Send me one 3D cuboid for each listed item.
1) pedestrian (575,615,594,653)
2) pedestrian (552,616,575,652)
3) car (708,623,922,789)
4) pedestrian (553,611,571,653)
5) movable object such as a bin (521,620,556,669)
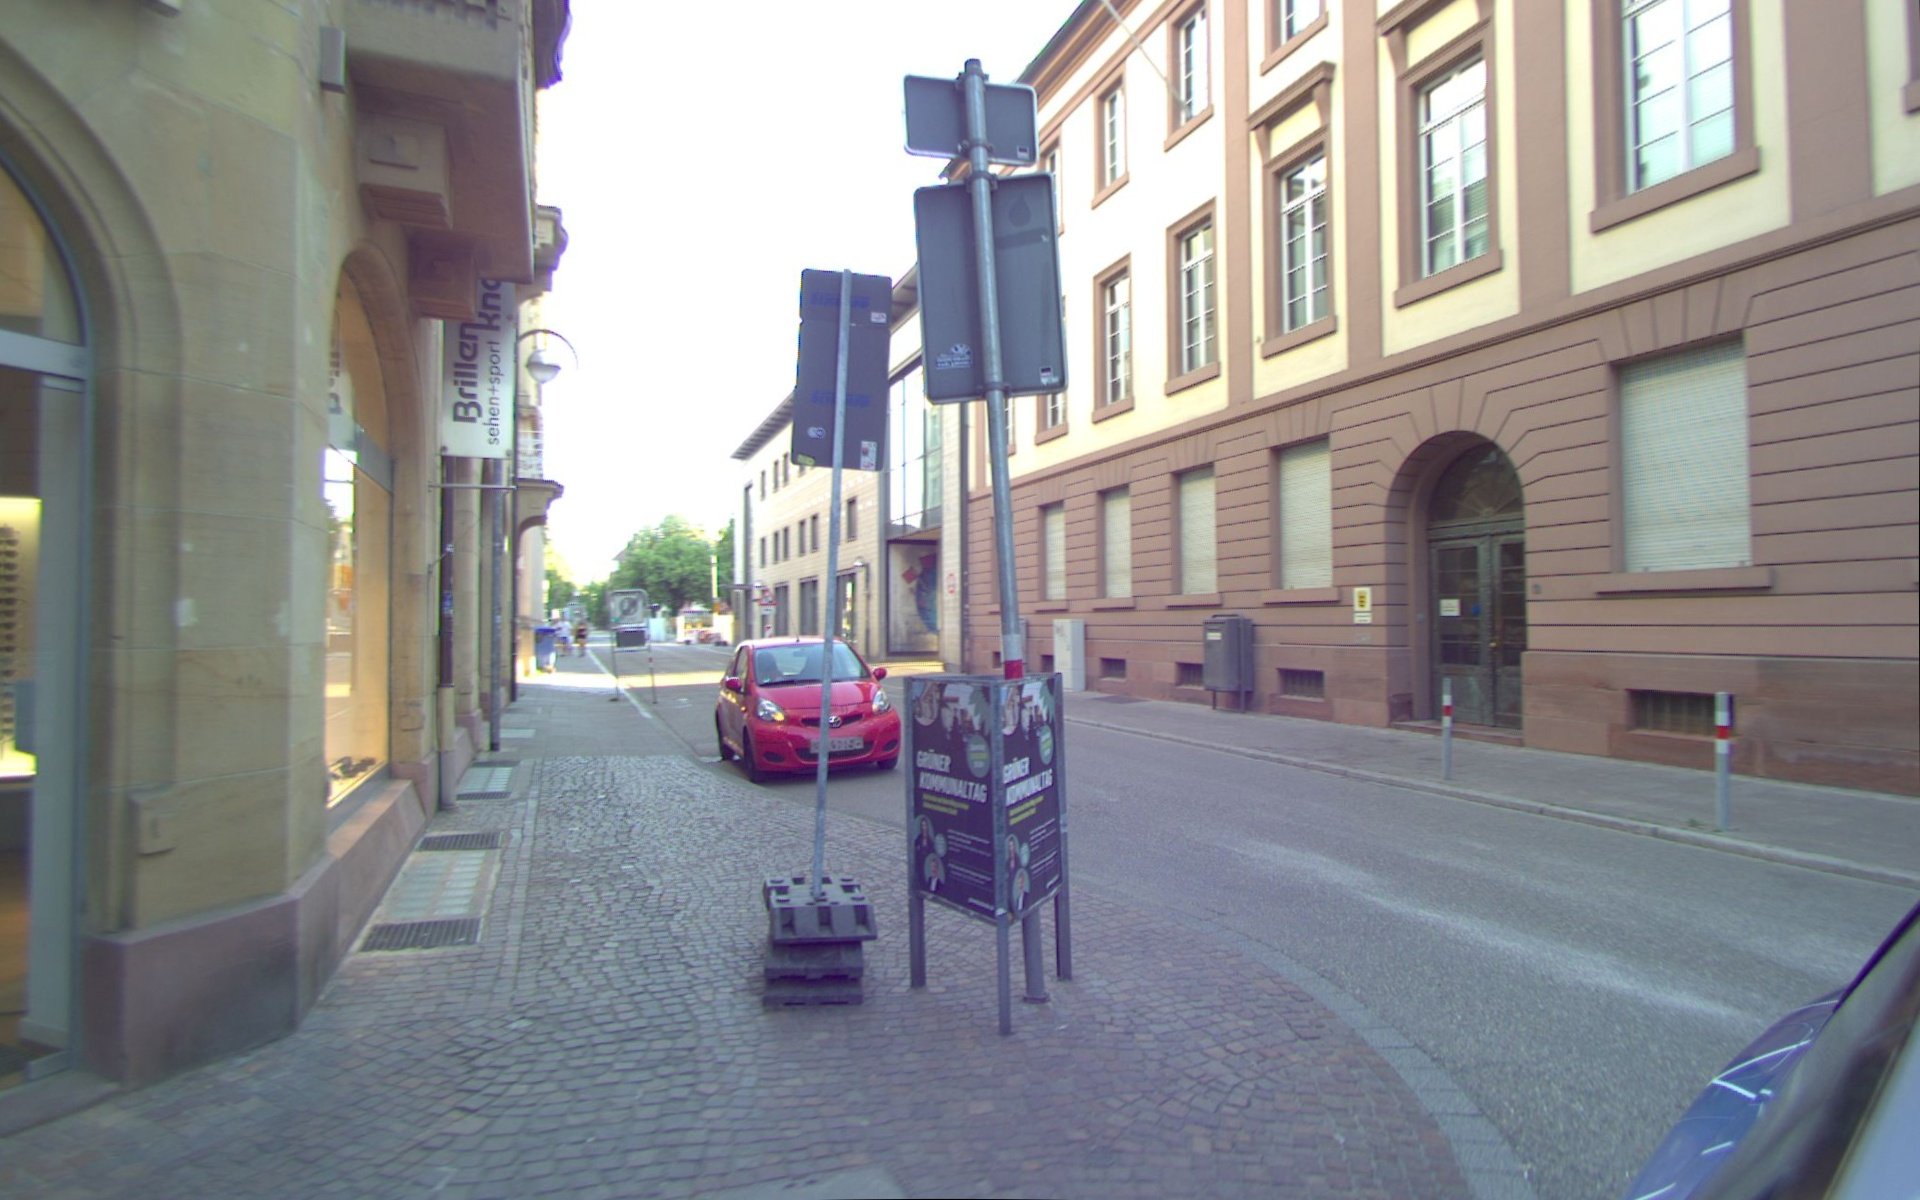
[{"bbox_3d":[-16.763,1.504,45.146,0.635,1.674,0.759,4,-3,-24],"label":"pedestrian"},{"bbox_3d":[-18.138,1.560,46.334,0.838,1.619,0.925,4,-3,-24],"label":"pedestrian"},{"bbox_3d":[-1.791,1.040,11.448,1.586,1.443,3.603,-3,0,-21],"label":"car"},{"bbox_3d":[-17.615,1.425,44.782,0.635,1.802,0.759,4,-3,-24],"label":"pedestrian"},{"bbox_3d":[-12.440,1.315,29.877,0.880,1.393,1.139,3,-3,-23],"label":"movable object such as a bin"}]
